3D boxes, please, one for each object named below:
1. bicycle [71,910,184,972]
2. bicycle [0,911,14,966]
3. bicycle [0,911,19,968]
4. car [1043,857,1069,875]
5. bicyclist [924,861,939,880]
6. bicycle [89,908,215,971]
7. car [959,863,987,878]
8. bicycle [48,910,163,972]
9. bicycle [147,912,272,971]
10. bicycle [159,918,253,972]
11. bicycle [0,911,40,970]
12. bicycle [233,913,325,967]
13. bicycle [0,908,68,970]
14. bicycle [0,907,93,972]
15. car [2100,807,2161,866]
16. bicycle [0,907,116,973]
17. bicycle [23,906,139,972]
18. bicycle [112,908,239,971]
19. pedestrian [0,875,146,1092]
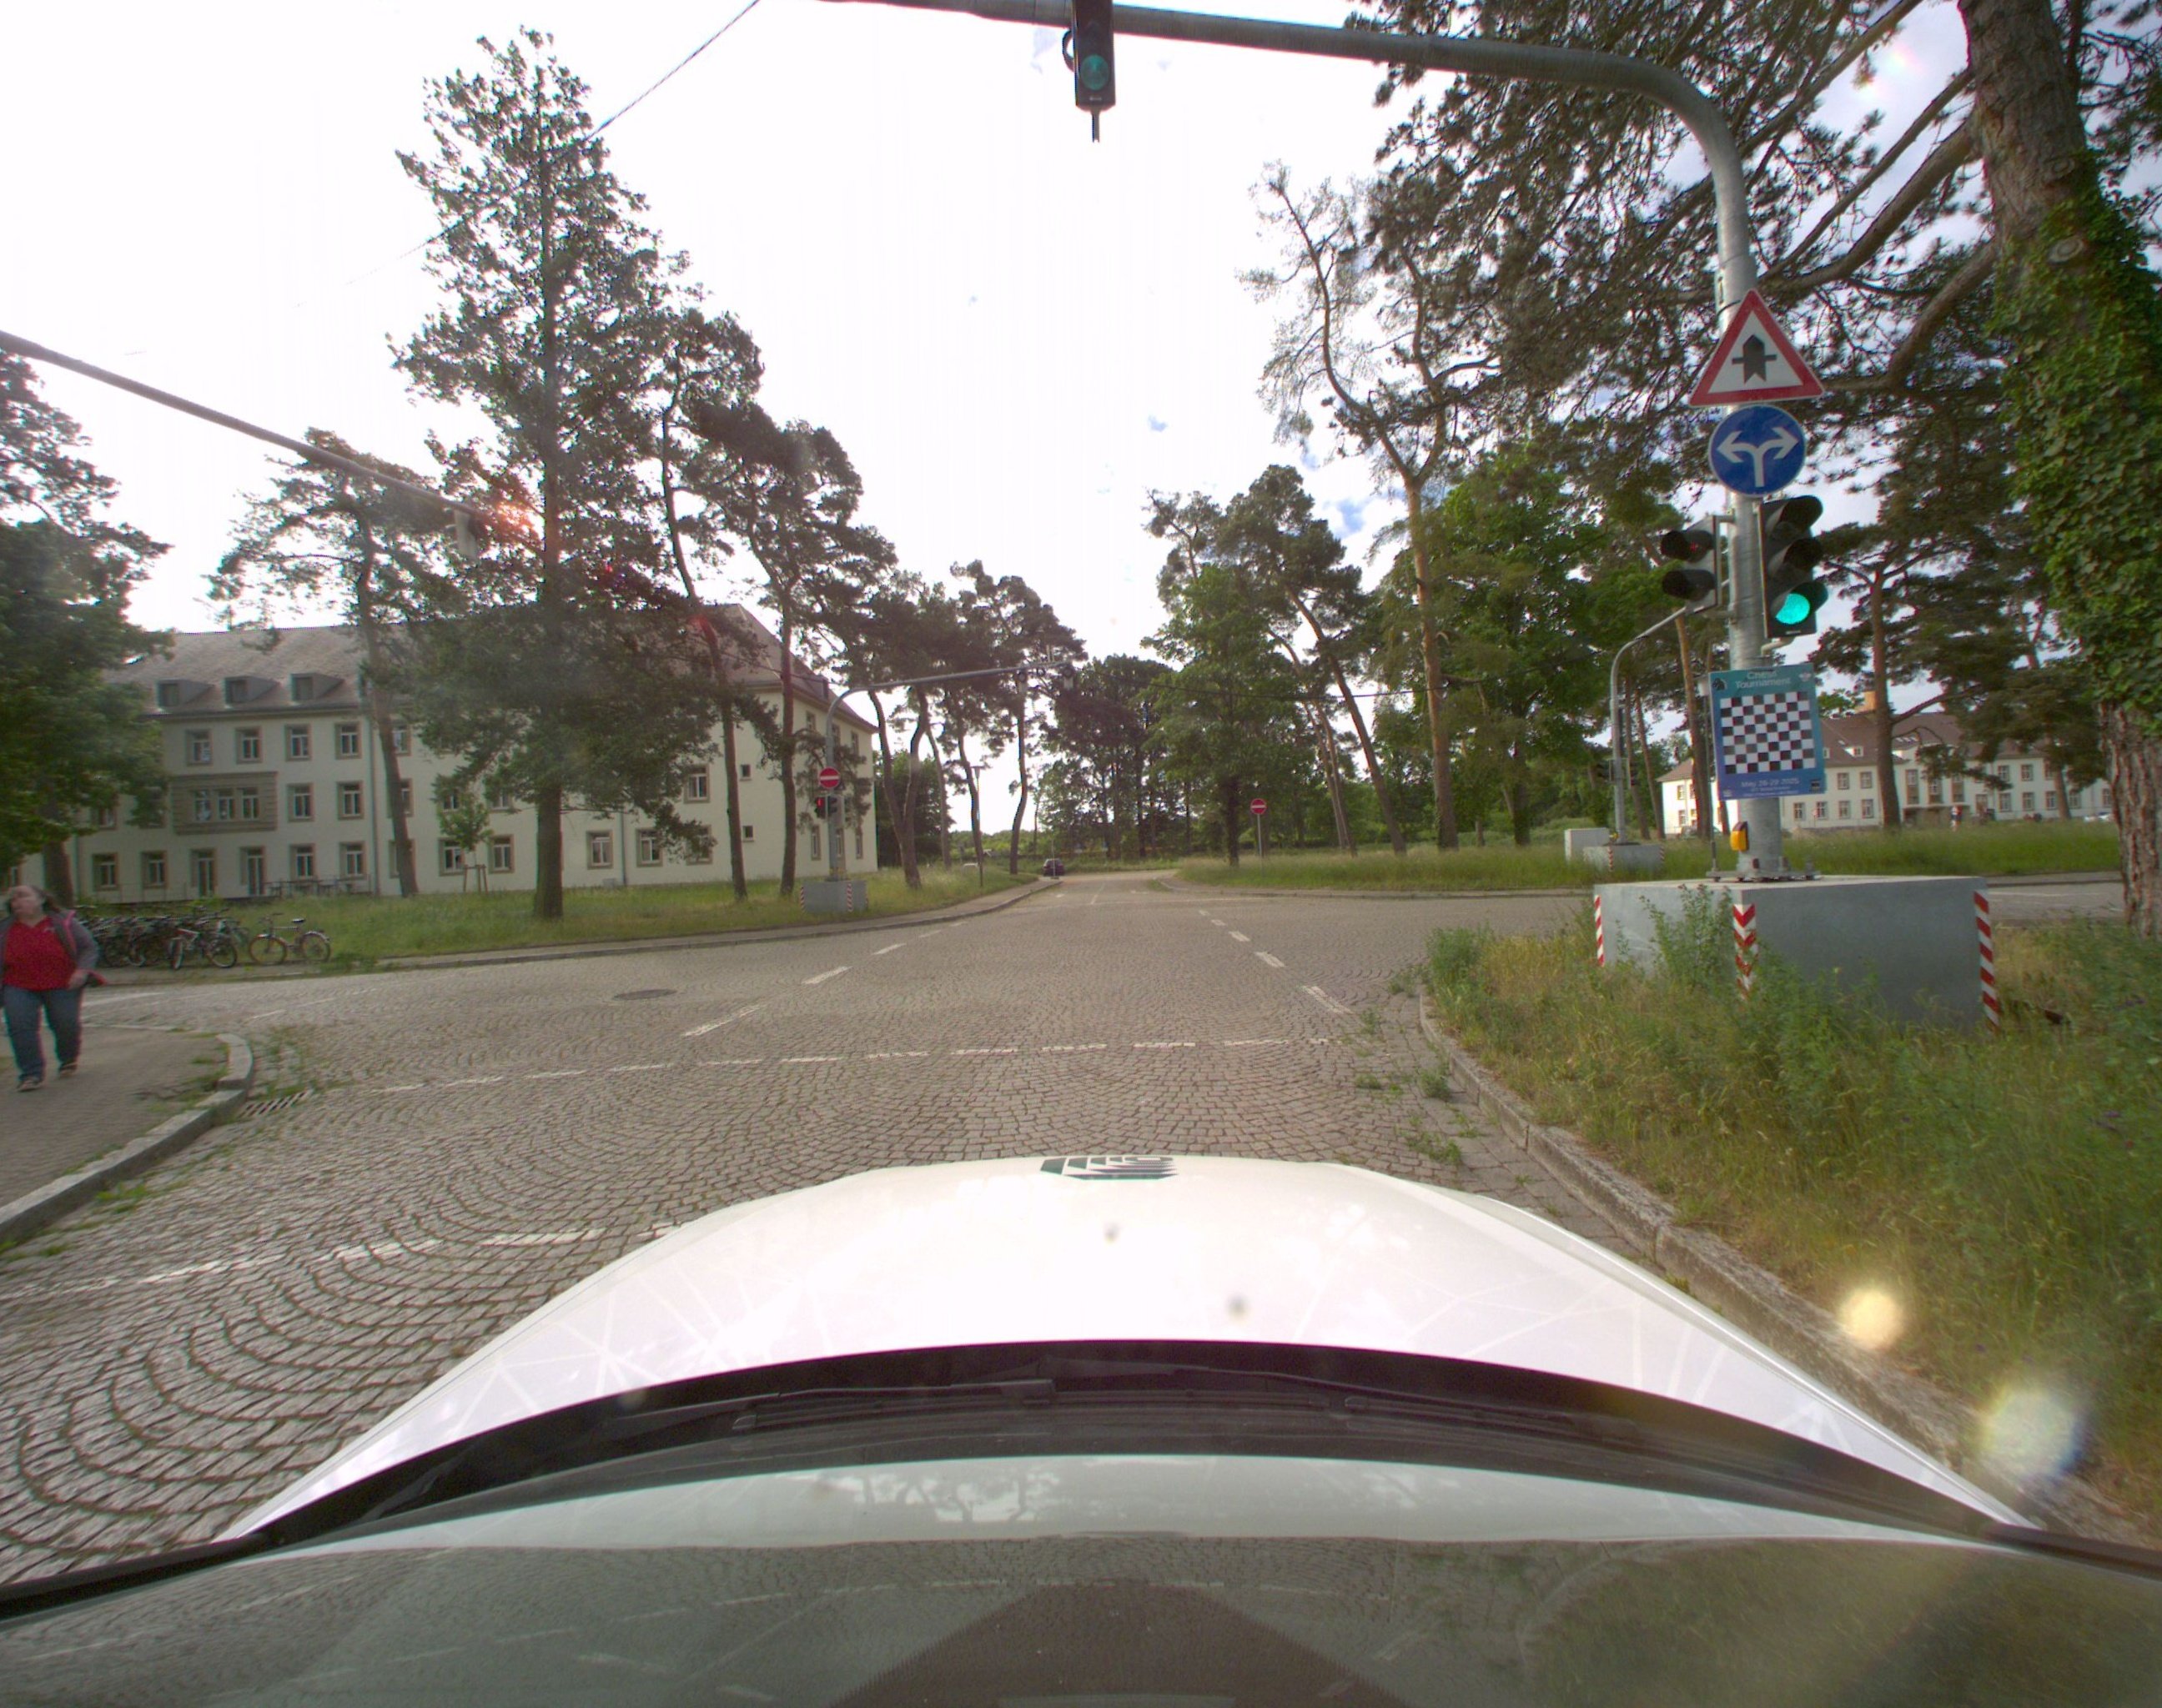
[{"bbox_3d":[-21.233,1.909,18.188,0.447,1.178,1.696,-3,0,1],"label":"bicycle"},{"bbox_3d":[-25.624,2.006,18.454,0.441,1.283,1.786,-3,0,1],"label":"bicycle"},{"bbox_3d":[-25.163,1.993,18.242,0.447,1.283,1.696,-3,0,1],"label":"bicycle"},{"bbox_3d":[-2.234,1.030,73.570,1.985,1.508,4.004,-1,0,4],"label":"car"},{"bbox_3d":[-12.160,1.327,66.315,0.972,1.510,0.807,-3,0,-1],"label":"bicyclist"},{"bbox_3d":[-20.719,1.885,18.230,0.525,1.178,1.931,-3,0,1],"label":"bicycle"},{"bbox_3d":[-9.921,1.510,74.940,1.681,1.156,4.004,-3,0,4],"label":"car"},{"bbox_3d":[-21.719,1.908,18.182,0.447,1.178,1.696,-3,0,1],"label":"bicycle"},{"bbox_3d":[-19.438,1.919,18.241,0.573,1.078,1.997,-3,0,1],"label":"bicycle"},{"bbox_3d":[-17.968,1.873,16.733,1.453,0.996,0.453,-3,0,3],"label":"bicycle"},{"bbox_3d":[-24.676,1.981,18.240,0.447,1.283,1.696,-3,0,1],"label":"bicycle"},{"bbox_3d":[-16.446,1.768,16.711,1.453,0.996,0.453,-3,0,3],"label":"bicycle"},{"bbox_3d":[-24.013,1.912,18.247,0.447,1.283,1.696,-3,0,1],"label":"bicycle"},{"bbox_3d":[-23.450,1.899,18.255,0.447,1.283,1.696,-3,0,1],"label":"bicycle"},{"bbox_3d":[29.235,-0.498,20.493,1.744,1.524,4.452,-3,0,4],"label":"car"},{"bbox_3d":[-22.934,1.886,18.283,0.447,1.283,1.696,-3,0,1],"label":"bicycle"},{"bbox_3d":[-22.428,1.874,18.310,0.447,1.283,1.696,-3,0,1],"label":"bicycle"},{"bbox_3d":[-20.137,1.870,18.184,0.573,1.178,1.954,-3,0,1],"label":"bicycle"},{"bbox_3d":[-8.659,1.045,6.870,0.851,1.668,0.946,-3,0,42],"label":"pedestrian"}]
